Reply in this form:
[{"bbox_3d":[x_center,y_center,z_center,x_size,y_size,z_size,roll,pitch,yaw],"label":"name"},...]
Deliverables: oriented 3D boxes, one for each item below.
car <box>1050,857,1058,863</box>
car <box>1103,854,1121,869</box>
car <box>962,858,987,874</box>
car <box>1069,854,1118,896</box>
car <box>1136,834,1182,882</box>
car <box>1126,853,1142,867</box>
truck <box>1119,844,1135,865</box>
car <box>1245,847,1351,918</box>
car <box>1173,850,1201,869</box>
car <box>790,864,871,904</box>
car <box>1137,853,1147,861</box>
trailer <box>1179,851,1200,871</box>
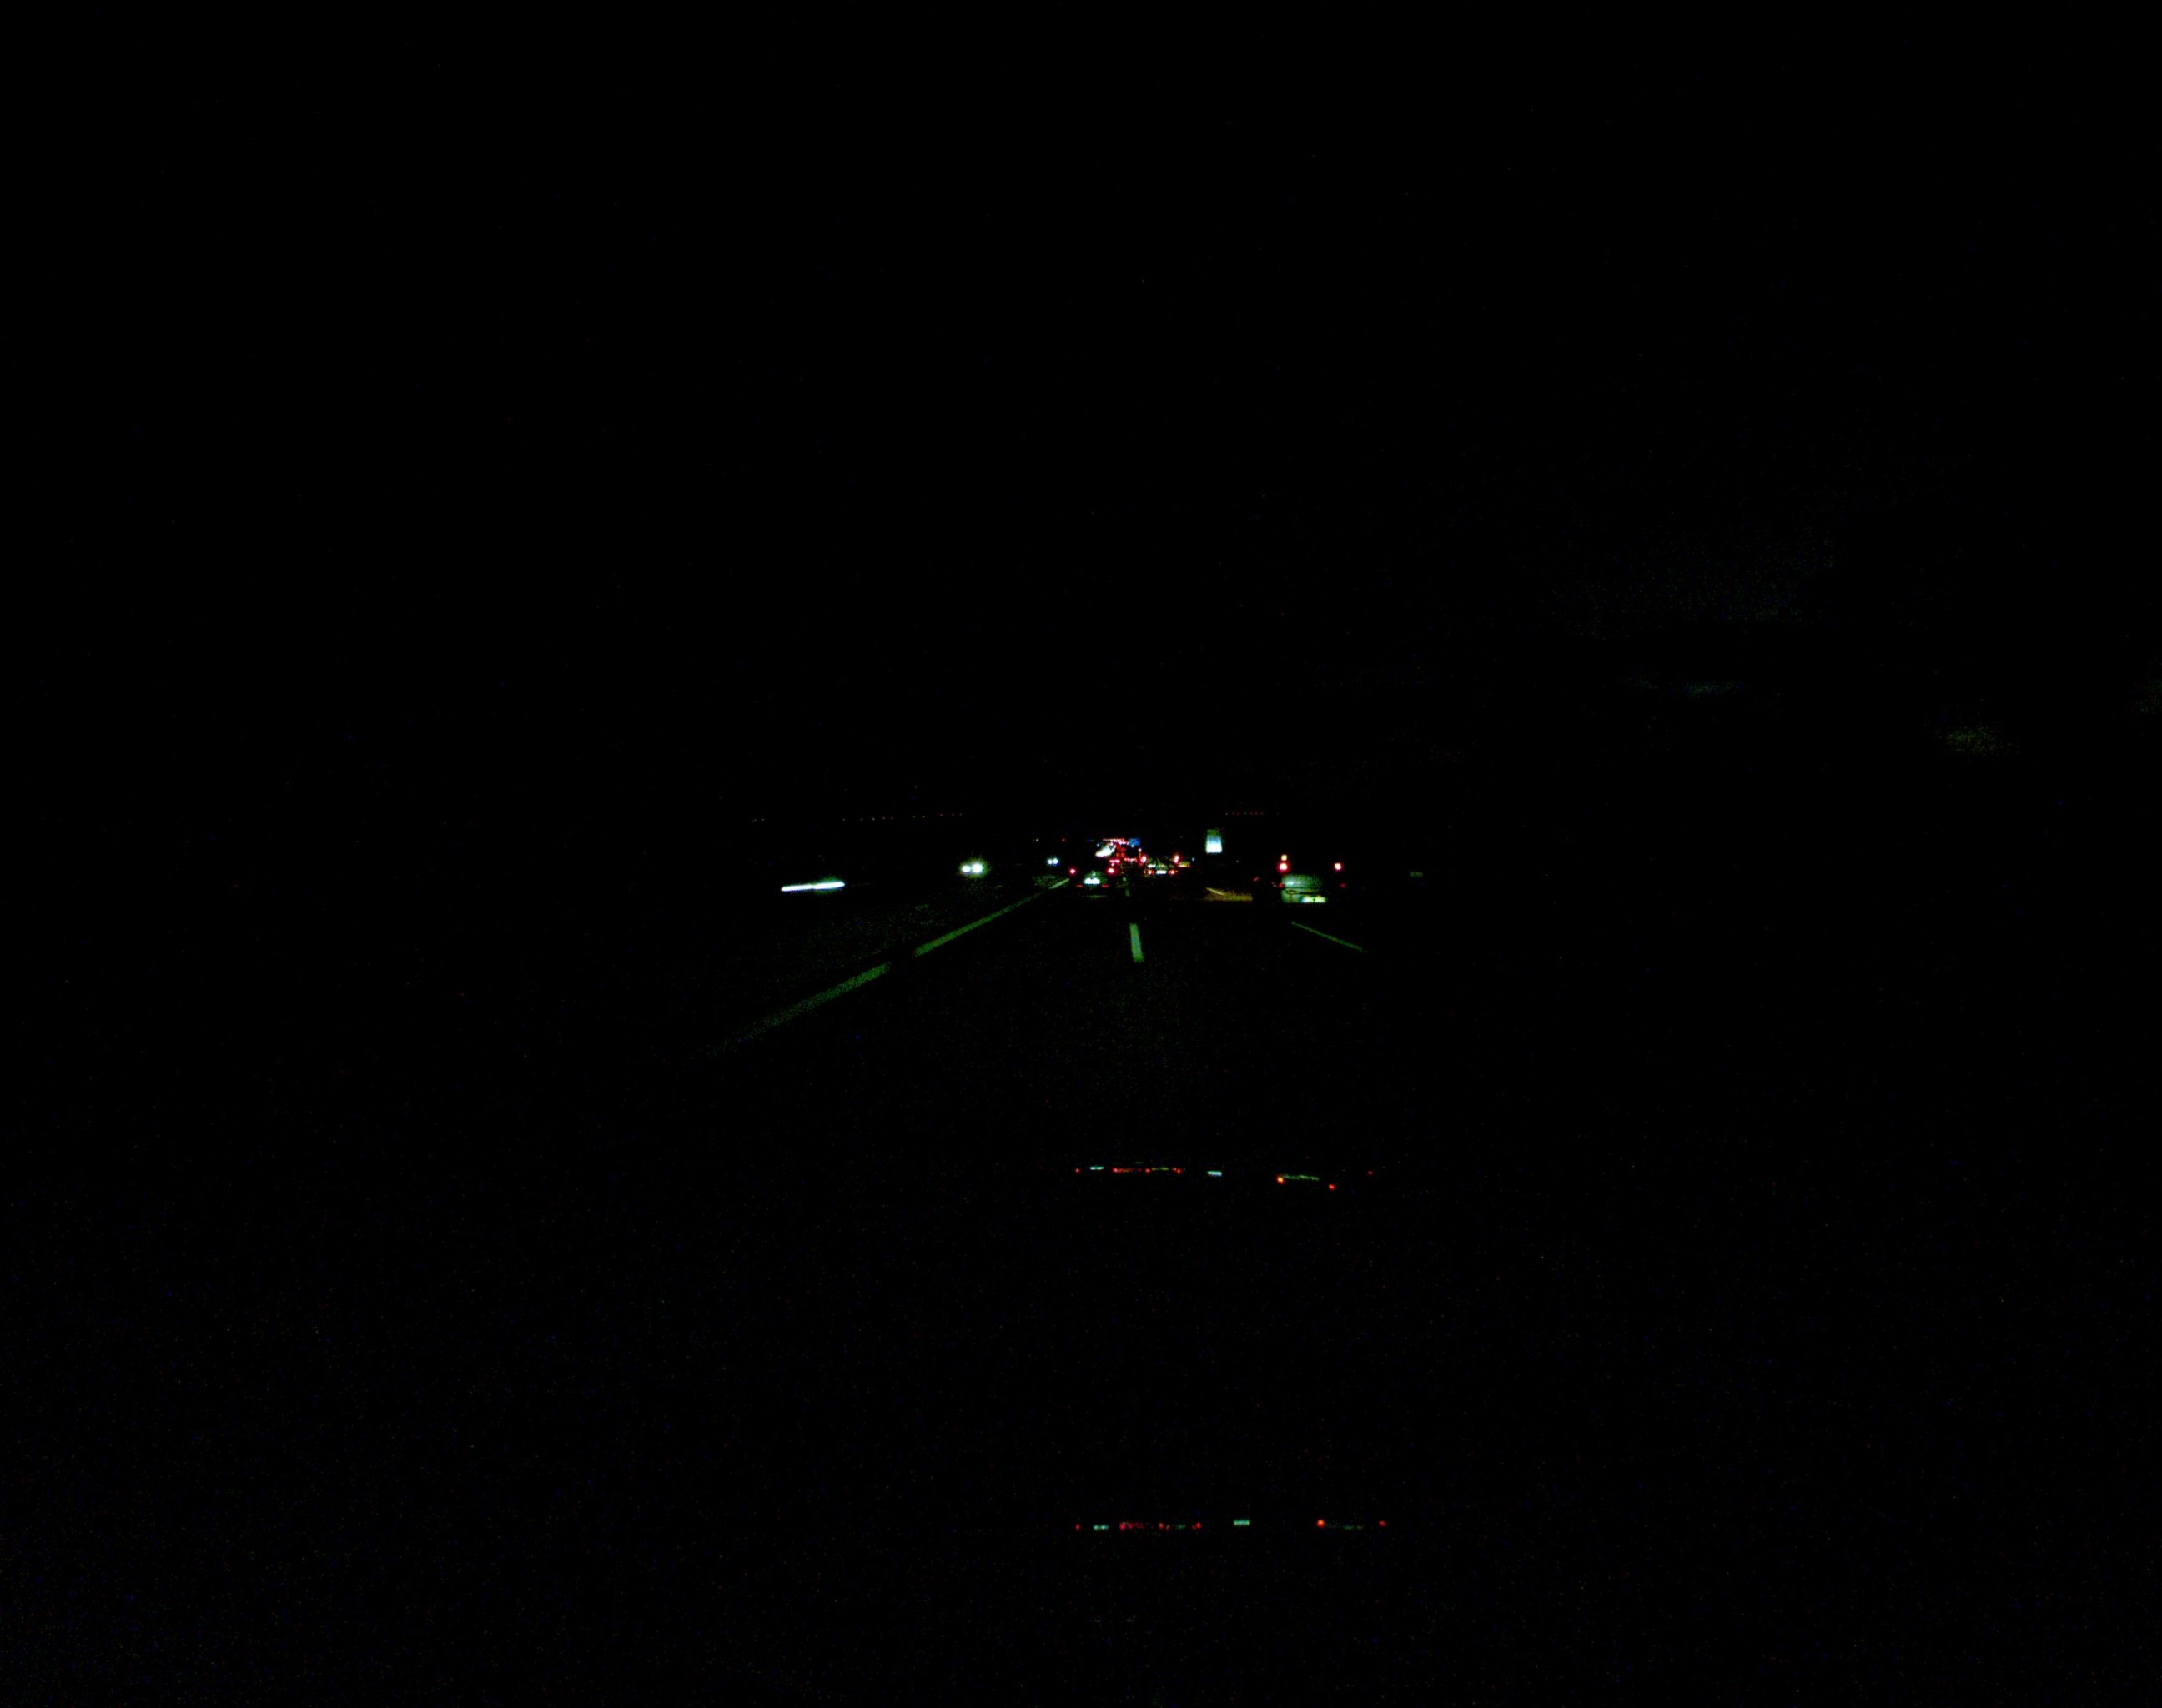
[{"bbox_3d":[-7.113,1.635,214.811,1.987,1.419,4.984,-4,0,1],"label":"car"},{"bbox_3d":[3.254,0.776,85.793,1.737,1.440,4.371,-2,0,3],"label":"car"},{"bbox_3d":[-12.707,1.387,97.636,2.036,1.720,4.778,-4,0,3],"label":"car"},{"bbox_3d":[0.549,0.777,32.034,1.786,1.469,3.776,-1,0,3],"label":"car"},{"bbox_3d":[4.469,0.178,47.524,2.341,2.535,5.705,-2,0,3],"label":"car"},{"bbox_3d":[8.162,0.923,125.484,2.342,1.914,4.726,-2,0,3],"label":"car"},{"bbox_3d":[8.979,0.060,160.299,2.771,3.955,7.995,-2,0,1],"label":"truck"},{"bbox_3d":[5.419,0.662,20.905,1.640,1.596,4.512,-1,0,2],"label":"car"},{"bbox_3d":[9.675,0.473,74.568,2.154,1.563,4.726,-2,0,3],"label":"car"},{"bbox_3d":[-11.763,1.369,38.664,1.895,1.643,5.302,-3,0,3],"label":"car"},{"bbox_3d":[15.619,0.755,208.345,2.342,2.076,4.727,-2,0,3],"label":"car"},{"bbox_3d":[9.463,0.623,70.934,1.559,1.693,2.823,-2,0,3],"label":"trailer"}]
